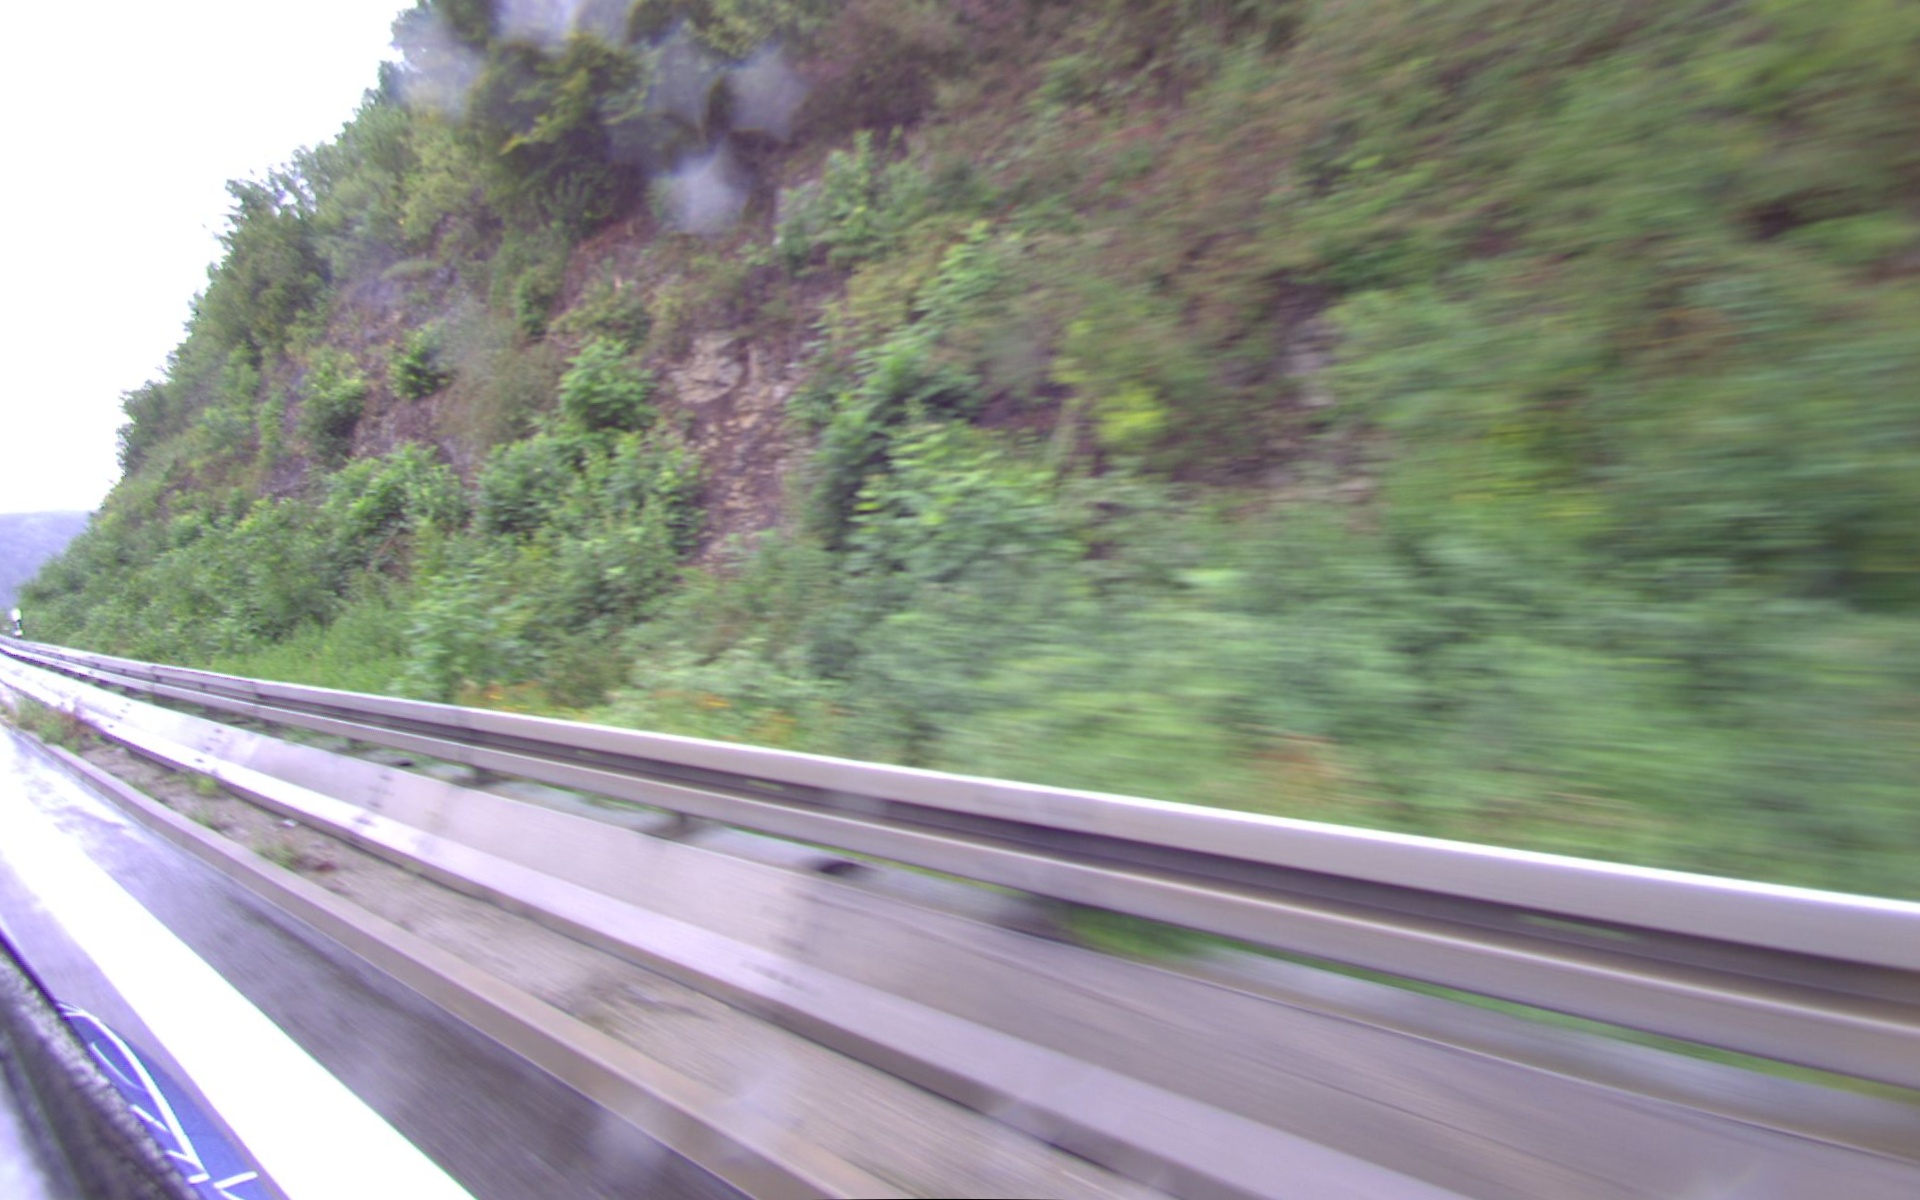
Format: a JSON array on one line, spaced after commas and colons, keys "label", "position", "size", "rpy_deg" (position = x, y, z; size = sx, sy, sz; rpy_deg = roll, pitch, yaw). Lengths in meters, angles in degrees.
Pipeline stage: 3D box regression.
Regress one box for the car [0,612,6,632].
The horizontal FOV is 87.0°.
[{"label": "car", "position": [-92.007, 2.098, 96.451], "size": [1.568, 1.920, 3.757], "rpy_deg": [0, -1, -43]}]
